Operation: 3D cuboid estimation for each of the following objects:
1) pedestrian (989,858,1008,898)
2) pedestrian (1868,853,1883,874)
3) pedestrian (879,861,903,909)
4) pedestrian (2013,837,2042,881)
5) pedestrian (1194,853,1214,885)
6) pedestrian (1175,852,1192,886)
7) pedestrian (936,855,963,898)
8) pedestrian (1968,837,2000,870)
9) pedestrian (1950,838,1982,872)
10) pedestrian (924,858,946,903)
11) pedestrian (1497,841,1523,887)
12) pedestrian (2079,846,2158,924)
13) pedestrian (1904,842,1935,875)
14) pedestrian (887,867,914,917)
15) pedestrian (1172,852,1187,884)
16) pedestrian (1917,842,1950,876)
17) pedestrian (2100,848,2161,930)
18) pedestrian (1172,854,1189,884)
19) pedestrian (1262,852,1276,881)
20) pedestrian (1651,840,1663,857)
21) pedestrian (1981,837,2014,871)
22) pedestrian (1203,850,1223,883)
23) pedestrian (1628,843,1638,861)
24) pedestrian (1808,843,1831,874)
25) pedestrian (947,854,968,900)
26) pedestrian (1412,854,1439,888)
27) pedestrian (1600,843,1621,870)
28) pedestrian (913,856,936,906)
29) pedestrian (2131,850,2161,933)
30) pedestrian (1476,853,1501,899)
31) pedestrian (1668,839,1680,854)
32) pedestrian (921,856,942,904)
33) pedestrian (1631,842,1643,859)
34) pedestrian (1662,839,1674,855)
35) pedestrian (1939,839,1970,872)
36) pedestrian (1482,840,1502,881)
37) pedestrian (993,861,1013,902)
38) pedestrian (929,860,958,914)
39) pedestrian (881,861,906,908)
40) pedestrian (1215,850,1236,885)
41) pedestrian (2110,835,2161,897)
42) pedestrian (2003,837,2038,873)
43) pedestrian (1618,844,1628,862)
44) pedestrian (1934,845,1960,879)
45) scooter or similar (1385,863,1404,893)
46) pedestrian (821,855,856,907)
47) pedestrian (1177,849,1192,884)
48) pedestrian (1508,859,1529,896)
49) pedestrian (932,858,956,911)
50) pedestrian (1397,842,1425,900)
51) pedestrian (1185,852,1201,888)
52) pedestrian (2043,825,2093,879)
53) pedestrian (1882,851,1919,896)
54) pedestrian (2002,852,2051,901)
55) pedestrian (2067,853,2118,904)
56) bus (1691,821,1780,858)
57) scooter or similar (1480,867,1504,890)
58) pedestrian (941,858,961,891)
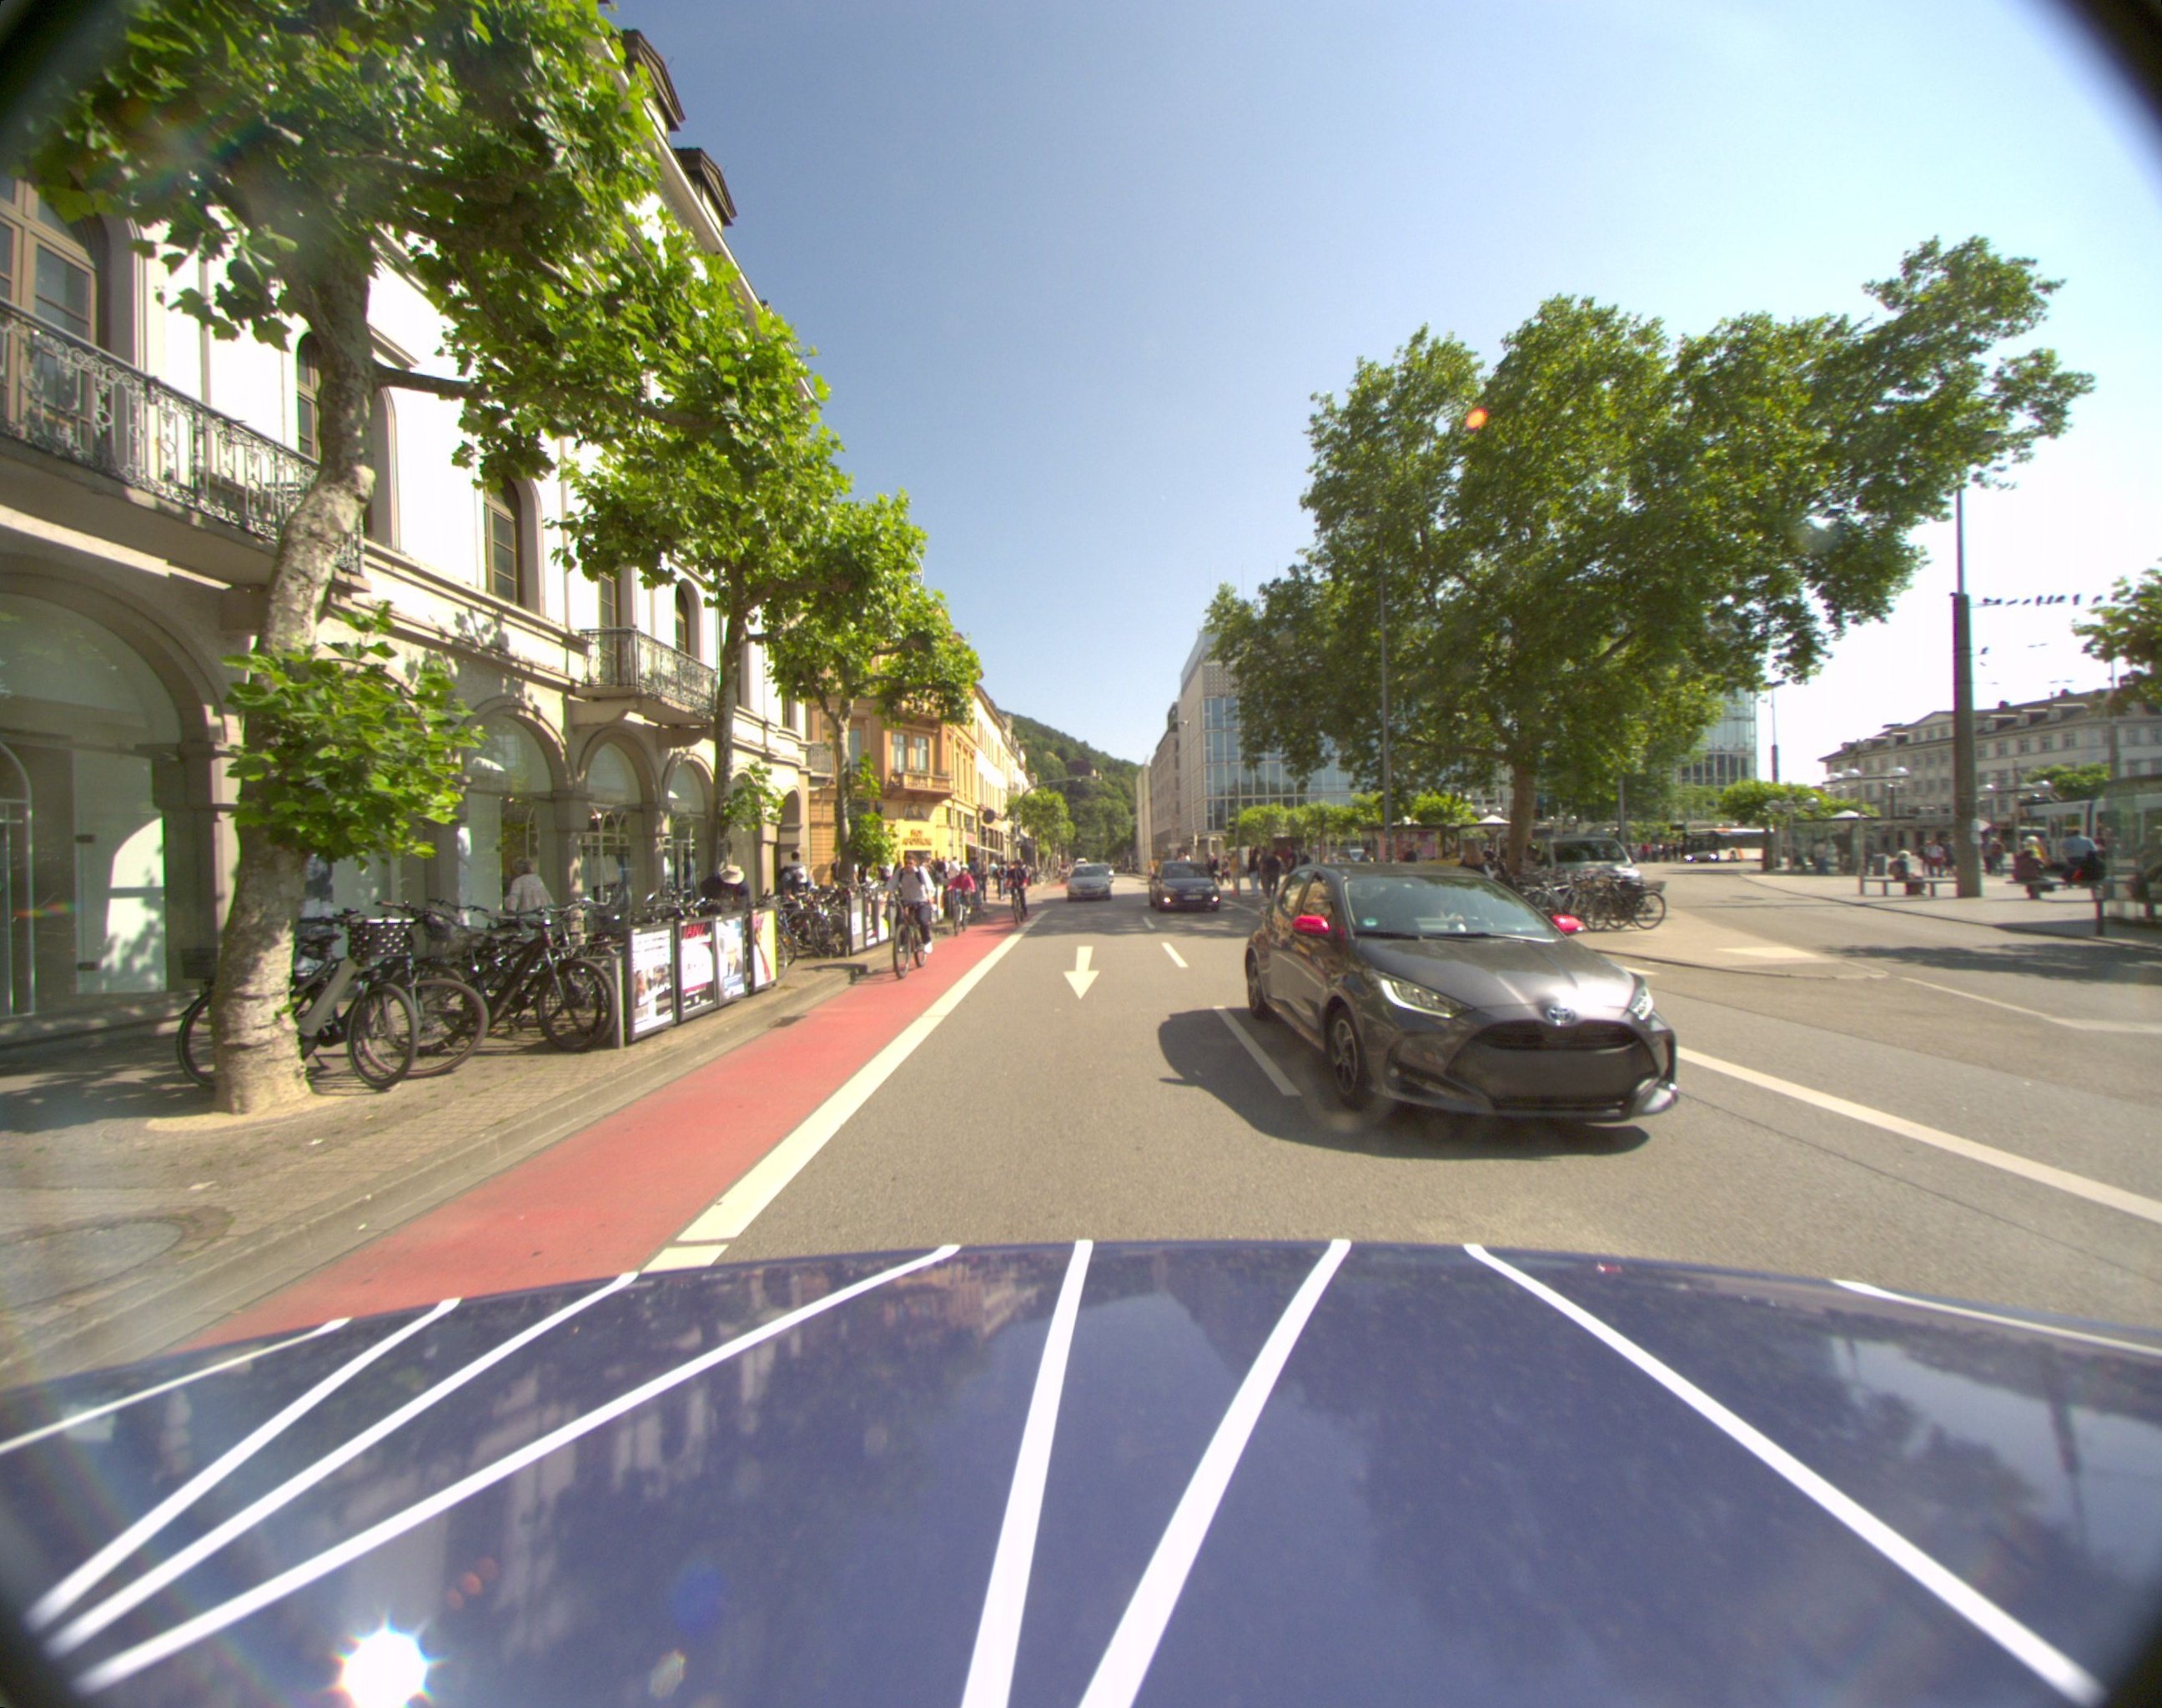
[{"bbox_3d":[-3.642,1.030,33.538,0.606,1.726,0.647,-2,1,-22],"label":"pedestrian"},{"bbox_3d":[36.963,0.442,35.356,0.330,0.957,0.335,-3,1,-18],"label":"pedestrian"},{"bbox_3d":[-7.344,1.180,29.350,0.650,1.793,0.699,-3,1,-1],"label":"pedestrian"},{"bbox_3d":[32.441,0.178,26.048,0.400,1.464,0.404,-3,1,8],"label":"pedestrian"},{"bbox_3d":[6.858,0.831,42.283,0.876,1.737,0.733,-3,1,-1],"label":"pedestrian"},{"bbox_3d":[5.303,0.758,39.295,0.639,1.737,0.733,-3,1,-1],"label":"pedestrian"},{"bbox_3d":[-5.733,0.979,33.089,0.621,1.834,0.857,-3,1,39],"label":"pedestrian"},{"bbox_3d":[41.220,-0.011,34.680,0.757,1.464,0.555,-3,1,0],"label":"pedestrian"},{"bbox_3d":[39.865,0.046,34.227,0.757,1.464,0.555,-3,1,0],"label":"pedestrian"},{"bbox_3d":[-6.081,1.098,31.606,0.665,1.834,0.622,-3,1,1],"label":"pedestrian"},{"bbox_3d":[16.572,0.376,29.325,0.537,1.737,0.613,-3,1,-9],"label":"pedestrian"},{"bbox_3d":[19.914,0.582,14.599,0.623,1.457,0.681,-1,1,21],"label":"pedestrian"},{"bbox_3d":[38.359,0.187,34.769,0.757,1.464,0.555,-3,1,0],"label":"pedestrian"},{"bbox_3d":[-5.837,1.215,24.611,0.517,1.574,0.584,-3,1,40],"label":"pedestrian"},{"bbox_3d":[5.423,0.777,41.945,0.639,1.737,0.733,-3,1,-1],"label":"pedestrian"},{"bbox_3d":[37.176,0.211,33.136,0.554,1.464,0.758,-3,0,8],"label":"pedestrian"},{"bbox_3d":[19.483,0.635,13.913,0.727,1.457,0.682,1,0,21],"label":"pedestrian"},{"bbox_3d":[5.962,0.908,45.588,0.731,1.737,0.640,-3,1,25],"label":"pedestrian"},{"bbox_3d":[11.282,0.745,45.563,0.732,1.660,0.640,-3,1,14],"label":"pedestrian"},{"bbox_3d":[52.582,-0.504,69.392,0.756,1.464,0.556,-3,1,28],"label":"pedestrian"},{"bbox_3d":[40.495,0.015,33.578,0.757,1.464,0.555,-3,1,0],"label":"pedestrian"},{"bbox_3d":[7.166,0.654,41.217,0.751,1.737,0.733,-3,1,-9],"label":"pedestrian"},{"bbox_3d":[45.295,-0.170,62.360,0.554,1.464,0.759,-3,1,37],"label":"pedestrian"},{"bbox_3d":[35.703,0.234,36.724,0.554,1.464,0.532,-3,1,8],"label":"pedestrian"},{"bbox_3d":[-5.152,0.951,31.814,0.686,1.847,0.622,-3,1,-2],"label":"pedestrian"},{"bbox_3d":[13.293,0.652,29.319,0.672,1.234,0.615,-3,0,-12],"label":"pedestrian"},{"bbox_3d":[35.185,0.175,50.507,0.752,1.737,0.782,-3,1,-9],"label":"pedestrian"},{"bbox_3d":[-5.411,0.938,26.292,0.578,1.675,0.622,-3,1,-2],"label":"pedestrian"},{"bbox_3d":[19.262,0.666,13.377,0.623,1.457,0.682,1,0,21],"label":"pedestrian"},{"bbox_3d":[13.390,0.723,24.951,0.579,1.452,0.787,-3,1,34],"label":"pedestrian"},{"bbox_3d":[56.356,-0.712,72.154,0.756,1.464,0.556,-3,1,28],"label":"pedestrian"},{"bbox_3d":[-5.421,0.933,27.566,0.578,1.714,0.622,-3,1,-2],"label":"pedestrian"},{"bbox_3d":[50.599,-0.323,69.097,0.756,1.464,0.556,-3,1,28],"label":"pedestrian"},{"bbox_3d":[54.170,-0.672,70.165,0.756,1.464,0.556,-3,1,28],"label":"pedestrian"},{"bbox_3d":[40.055,0.049,34.841,0.757,1.464,0.555,-3,1,0],"label":"pedestrian"},{"bbox_3d":[17.562,0.284,32.447,0.554,1.717,0.492,-3,1,8],"label":"pedestrian"},{"bbox_3d":[-3.298,1.146,32.233,0.579,1.675,0.726,-3,1,-22],"label":"pedestrian"},{"bbox_3d":[-4.356,1.038,24.063,0.579,1.675,0.620,-4,1,-44],"label":"pedestrian"},{"bbox_3d":[-7.431,1.203,30.148,0.623,1.806,0.631,-4,1,-43],"label":"pedestrian"},{"bbox_3d":[7.335,0.670,38.639,0.722,1.737,0.884,-3,0,-9],"label":"pedestrian"},{"bbox_3d":[26.835,0.306,19.261,0.573,1.540,0.657,1,0,3],"label":"pedestrian"},{"bbox_3d":[40.066,0.035,32.414,0.757,1.464,0.555,-3,1,0],"label":"pedestrian"},{"bbox_3d":[44.862,-0.075,62.874,0.554,1.464,0.759,-3,1,37],"label":"pedestrian"},{"bbox_3d":[38.266,0.366,33.593,0.554,1.464,0.456,-3,1,8],"label":"pedestrian"},{"bbox_3d":[12.056,0.916,29.214,0.567,1.113,0.539,-3,1,28],"label":"scooter or similar"},{"bbox_3d":[-8.449,0.936,26.546,0.621,1.747,1.187,-3,0,8],"label":"pedestrian"},{"bbox_3d":[5.832,0.691,42.800,0.639,1.909,0.860,-3,1,-1],"label":"pedestrian"},{"bbox_3d":[14.288,0.766,24.822,0.500,1.199,0.460,-3,1,34],"label":"pedestrian"},{"bbox_3d":[-4.539,0.997,25.159,0.578,1.675,0.775,-3,0,-2],"label":"pedestrian"},{"bbox_3d":[10.102,0.504,23.284,0.516,1.732,0.518,-3,1,-13],"label":"pedestrian"},{"bbox_3d":[5.362,0.765,36.408,0.575,1.704,0.652,-3,1,-1],"label":"pedestrian"},{"bbox_3d":[28.614,-0.042,22.037,0.679,1.540,0.579,1,0,21],"label":"pedestrian"},{"bbox_3d":[23.821,0.561,22.100,0.497,1.246,0.484,-3,1,-1],"label":"pedestrian"},{"bbox_3d":[23.882,0.570,19.196,0.578,1.226,0.553,1,0,-11],"label":"pedestrian"},{"bbox_3d":[23.963,0.578,18.003,0.545,1.195,0.526,1,0,-11],"label":"pedestrian"},{"bbox_3d":[59.315,-1.364,68.760,12.201,2.774,2.385,-3,0,-31],"label":"bus"},{"bbox_3d":[13.054,0.777,24.119,0.579,0.643,0.787,-3,0,34],"label":"scooter or similar"},{"bbox_3d":[-7.181,1.156,42.072,0.733,1.794,0.750,-1,0,32],"label":"pedestrian"}]
